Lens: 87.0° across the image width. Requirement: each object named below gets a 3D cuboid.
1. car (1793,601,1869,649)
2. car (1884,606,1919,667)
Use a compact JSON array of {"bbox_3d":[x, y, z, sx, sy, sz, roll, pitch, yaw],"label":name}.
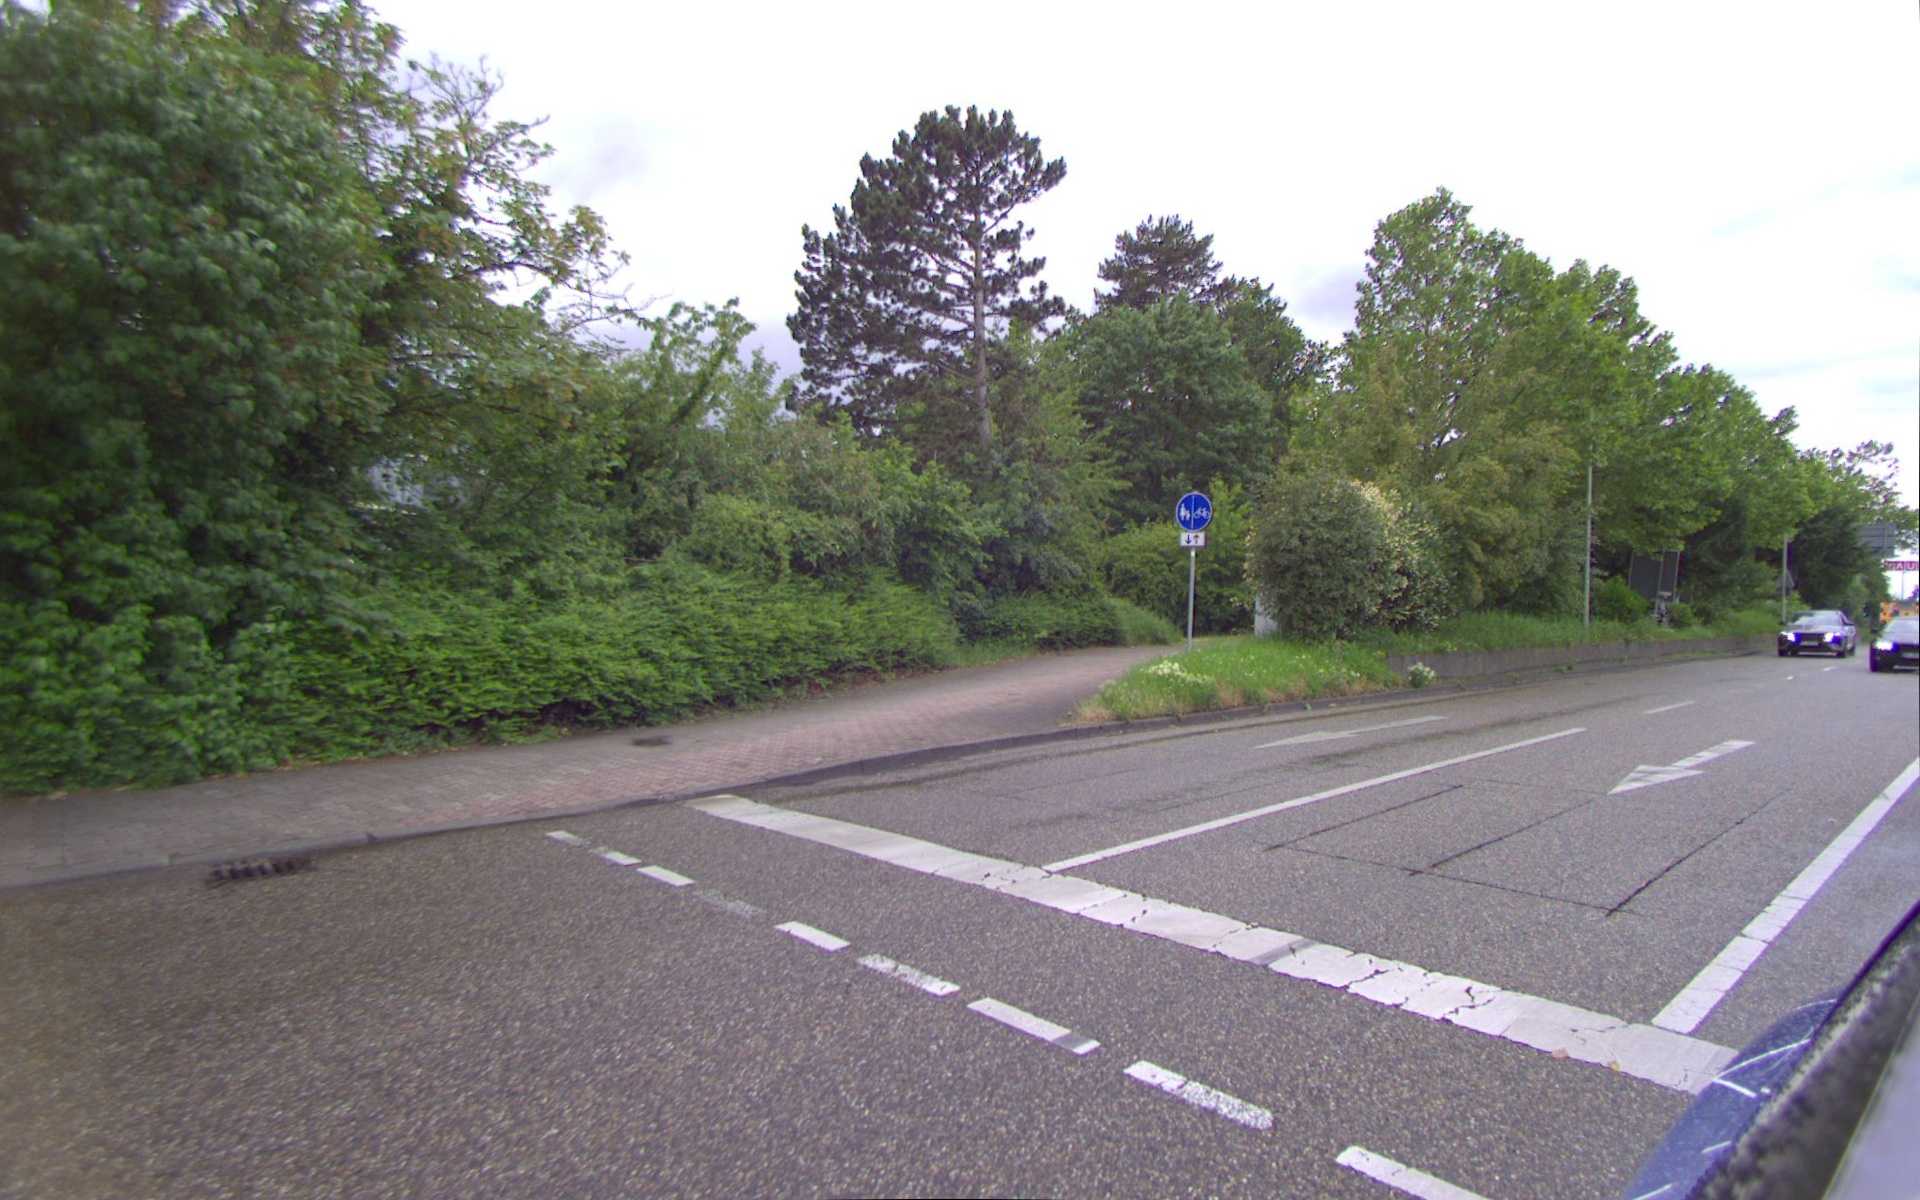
[{"bbox_3d":[31.136,0.891,36.157,3.778,1.643,1.702,1,-2,-44],"label":"car"},{"bbox_3d":[25.748,0.925,26.608,4.640,1.478,1.793,0,0,-43],"label":"car"}]
